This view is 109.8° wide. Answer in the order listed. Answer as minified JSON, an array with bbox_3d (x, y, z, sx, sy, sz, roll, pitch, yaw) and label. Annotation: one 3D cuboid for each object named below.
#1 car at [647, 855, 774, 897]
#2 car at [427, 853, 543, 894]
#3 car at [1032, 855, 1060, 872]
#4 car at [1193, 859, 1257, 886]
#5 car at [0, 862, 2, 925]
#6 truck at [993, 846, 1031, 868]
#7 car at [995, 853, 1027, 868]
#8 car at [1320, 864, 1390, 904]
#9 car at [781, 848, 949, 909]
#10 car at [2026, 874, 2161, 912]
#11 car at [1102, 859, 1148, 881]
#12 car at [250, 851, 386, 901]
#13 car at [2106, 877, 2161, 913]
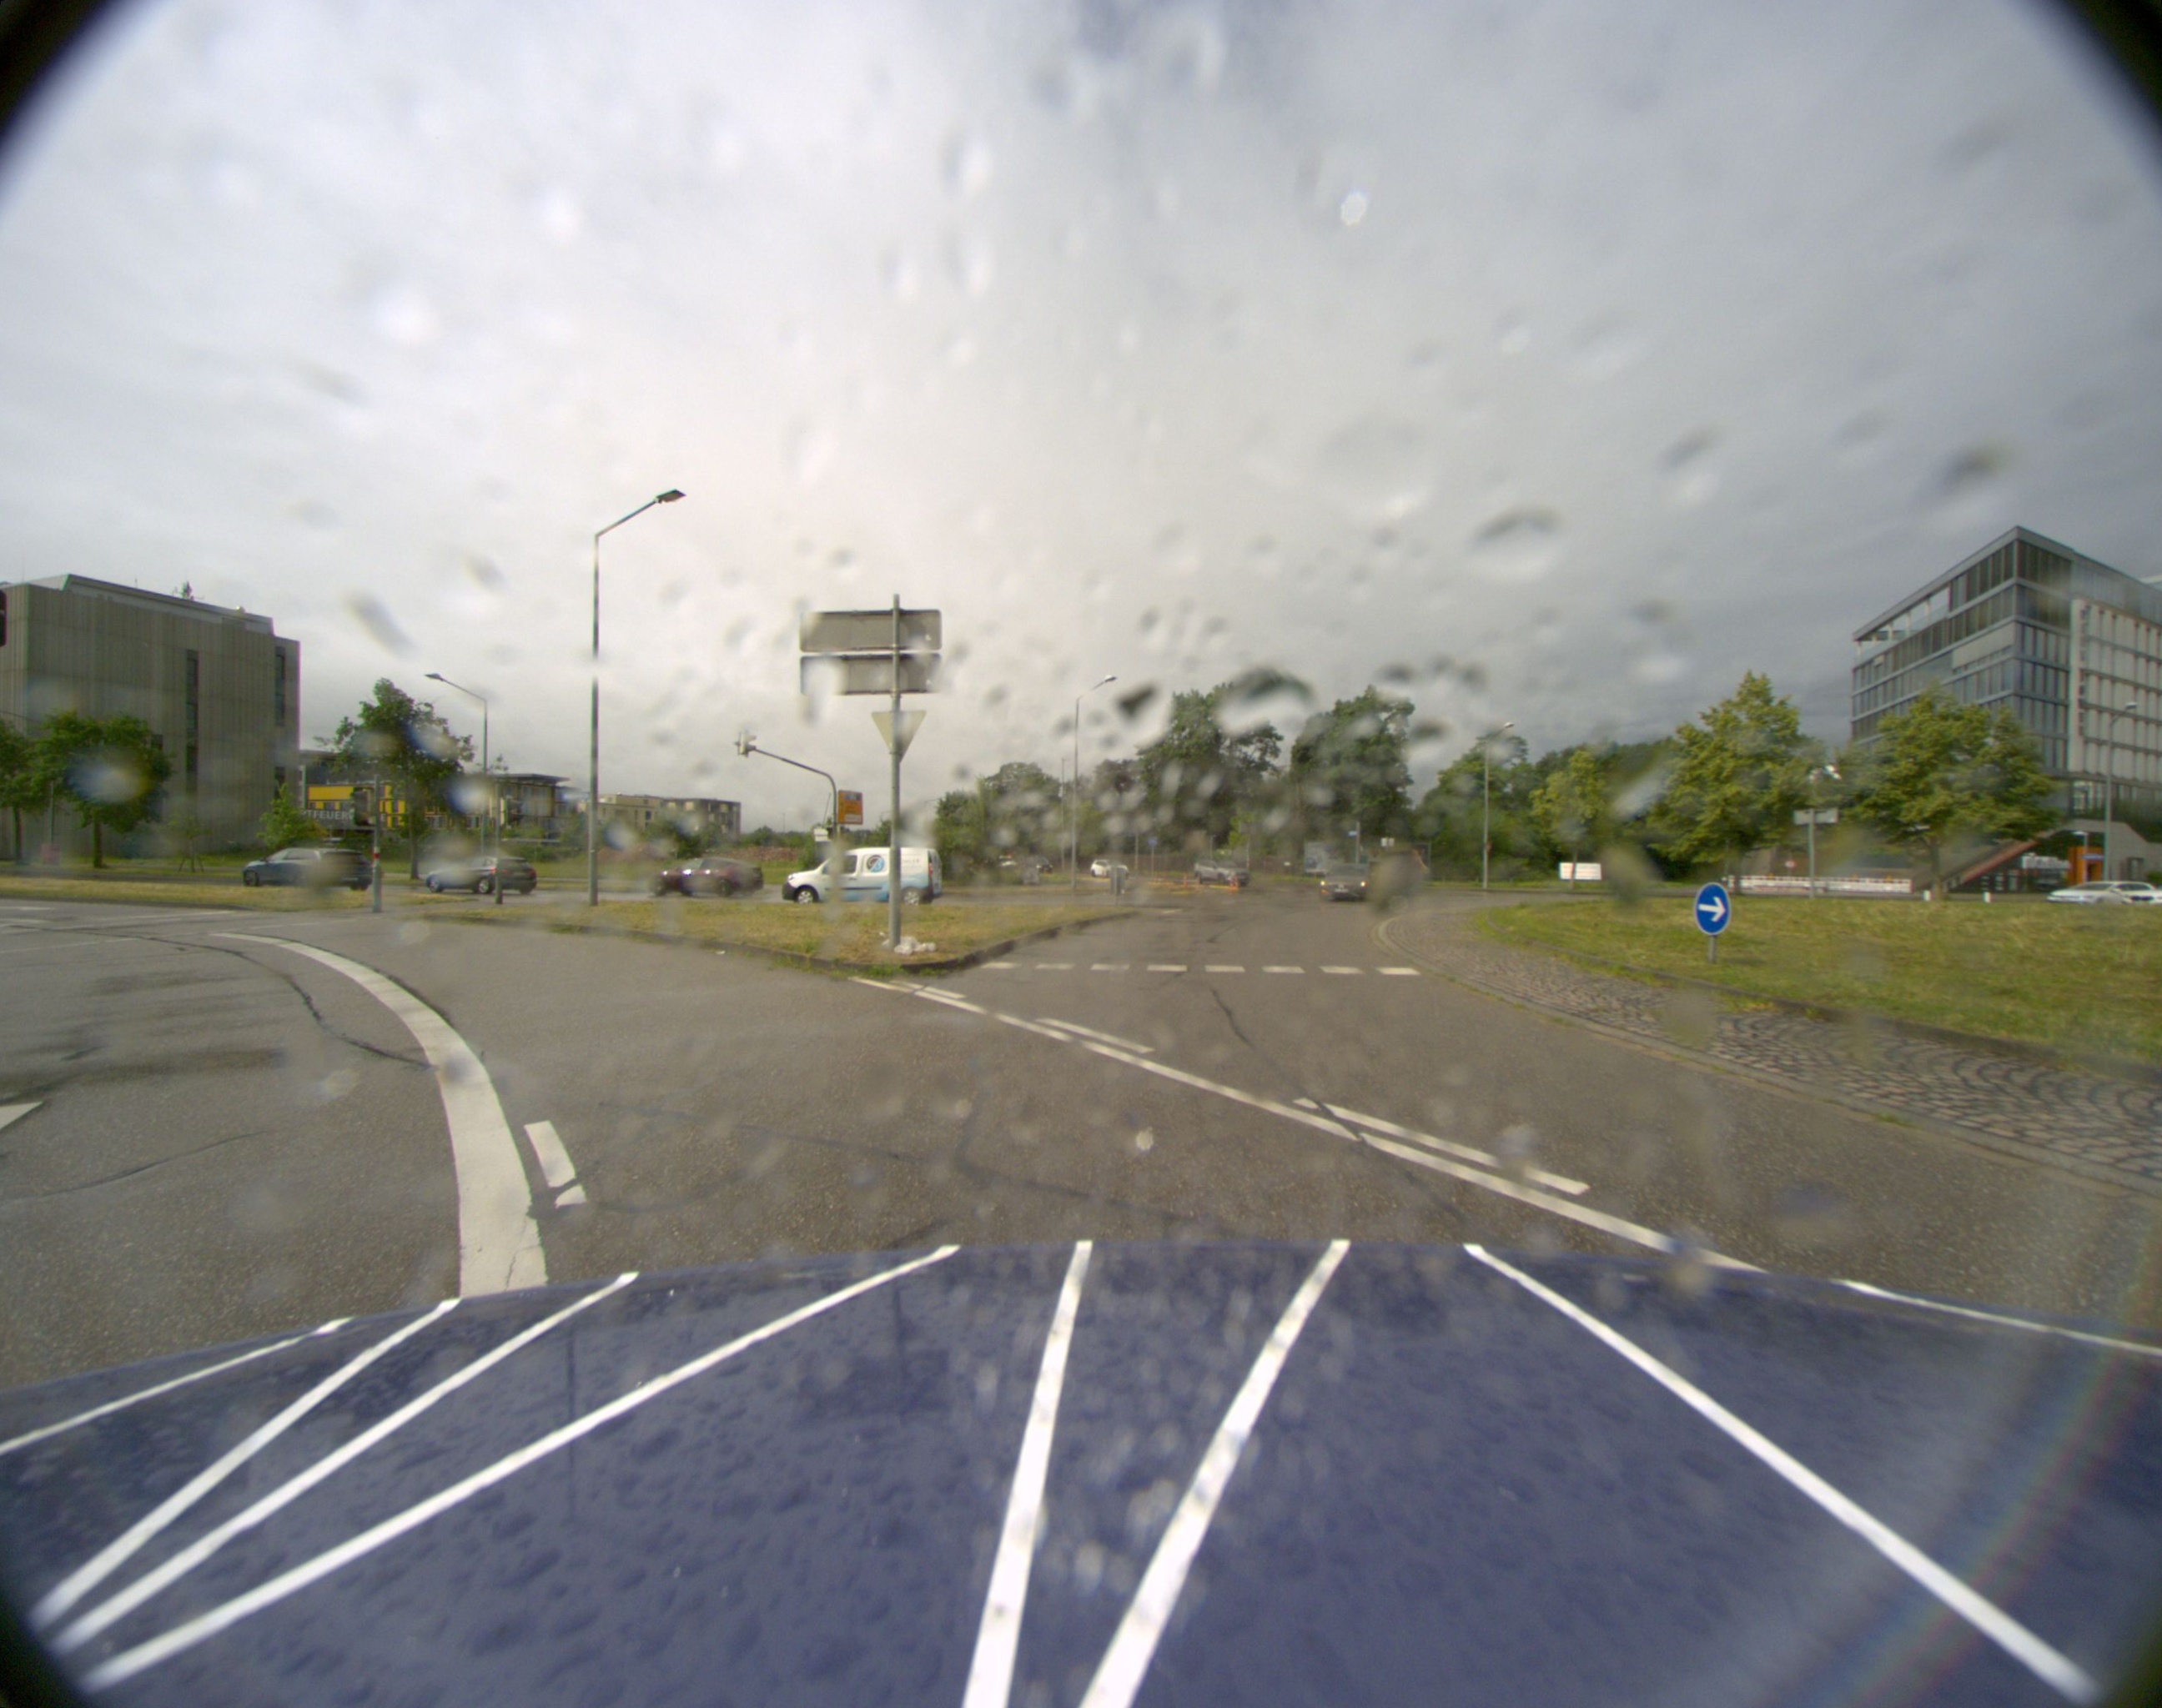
[{"bbox_3d":[-15.528,0.894,31.952,4.493,1.647,1.876,1,-1,8],"label":"car"},{"bbox_3d":[-24.013,0.751,30.634,3.991,1.519,1.813,1,0,19],"label":"car"},{"bbox_3d":[-3.677,0.971,79.065,1.877,1.653,4.477,2,-2,-17],"label":"car"},{"bbox_3d":[9.274,1.145,49.254,1.878,1.653,4.474,0,0,-23],"label":"car"},{"bbox_3d":[-25.846,0.848,16.297,4.541,1.372,1.870,0,0,18],"label":"car"},{"bbox_3d":[-8.976,0.410,98.427,2.466,2.710,6.930,1,0,-27],"label":"truck"},{"bbox_3d":[-8.146,0.730,88.500,1.879,1.653,4.472,2,-1,-32],"label":"car"},{"bbox_3d":[10.657,1.100,29.376,1.731,1.405,4.136,-1,0,31],"label":"car"},{"bbox_3d":[-6.430,0.722,22.973,4.548,1.752,1.867,0,0,0],"label":"car"},{"bbox_3d":[49.892,1.919,37.385,4.467,1.662,1.867,2,-1,0],"label":"car"},{"bbox_3d":[3.636,1.321,63.655,1.878,1.653,4.473,-2,1,-27],"label":"car"},{"bbox_3d":[-29.209,0.806,29.092,4.312,1.747,2.046,1,-1,20],"label":"car"},{"bbox_3d":[48.072,1.812,33.248,3.900,1.499,1.727,1,0,3],"label":"car"}]
